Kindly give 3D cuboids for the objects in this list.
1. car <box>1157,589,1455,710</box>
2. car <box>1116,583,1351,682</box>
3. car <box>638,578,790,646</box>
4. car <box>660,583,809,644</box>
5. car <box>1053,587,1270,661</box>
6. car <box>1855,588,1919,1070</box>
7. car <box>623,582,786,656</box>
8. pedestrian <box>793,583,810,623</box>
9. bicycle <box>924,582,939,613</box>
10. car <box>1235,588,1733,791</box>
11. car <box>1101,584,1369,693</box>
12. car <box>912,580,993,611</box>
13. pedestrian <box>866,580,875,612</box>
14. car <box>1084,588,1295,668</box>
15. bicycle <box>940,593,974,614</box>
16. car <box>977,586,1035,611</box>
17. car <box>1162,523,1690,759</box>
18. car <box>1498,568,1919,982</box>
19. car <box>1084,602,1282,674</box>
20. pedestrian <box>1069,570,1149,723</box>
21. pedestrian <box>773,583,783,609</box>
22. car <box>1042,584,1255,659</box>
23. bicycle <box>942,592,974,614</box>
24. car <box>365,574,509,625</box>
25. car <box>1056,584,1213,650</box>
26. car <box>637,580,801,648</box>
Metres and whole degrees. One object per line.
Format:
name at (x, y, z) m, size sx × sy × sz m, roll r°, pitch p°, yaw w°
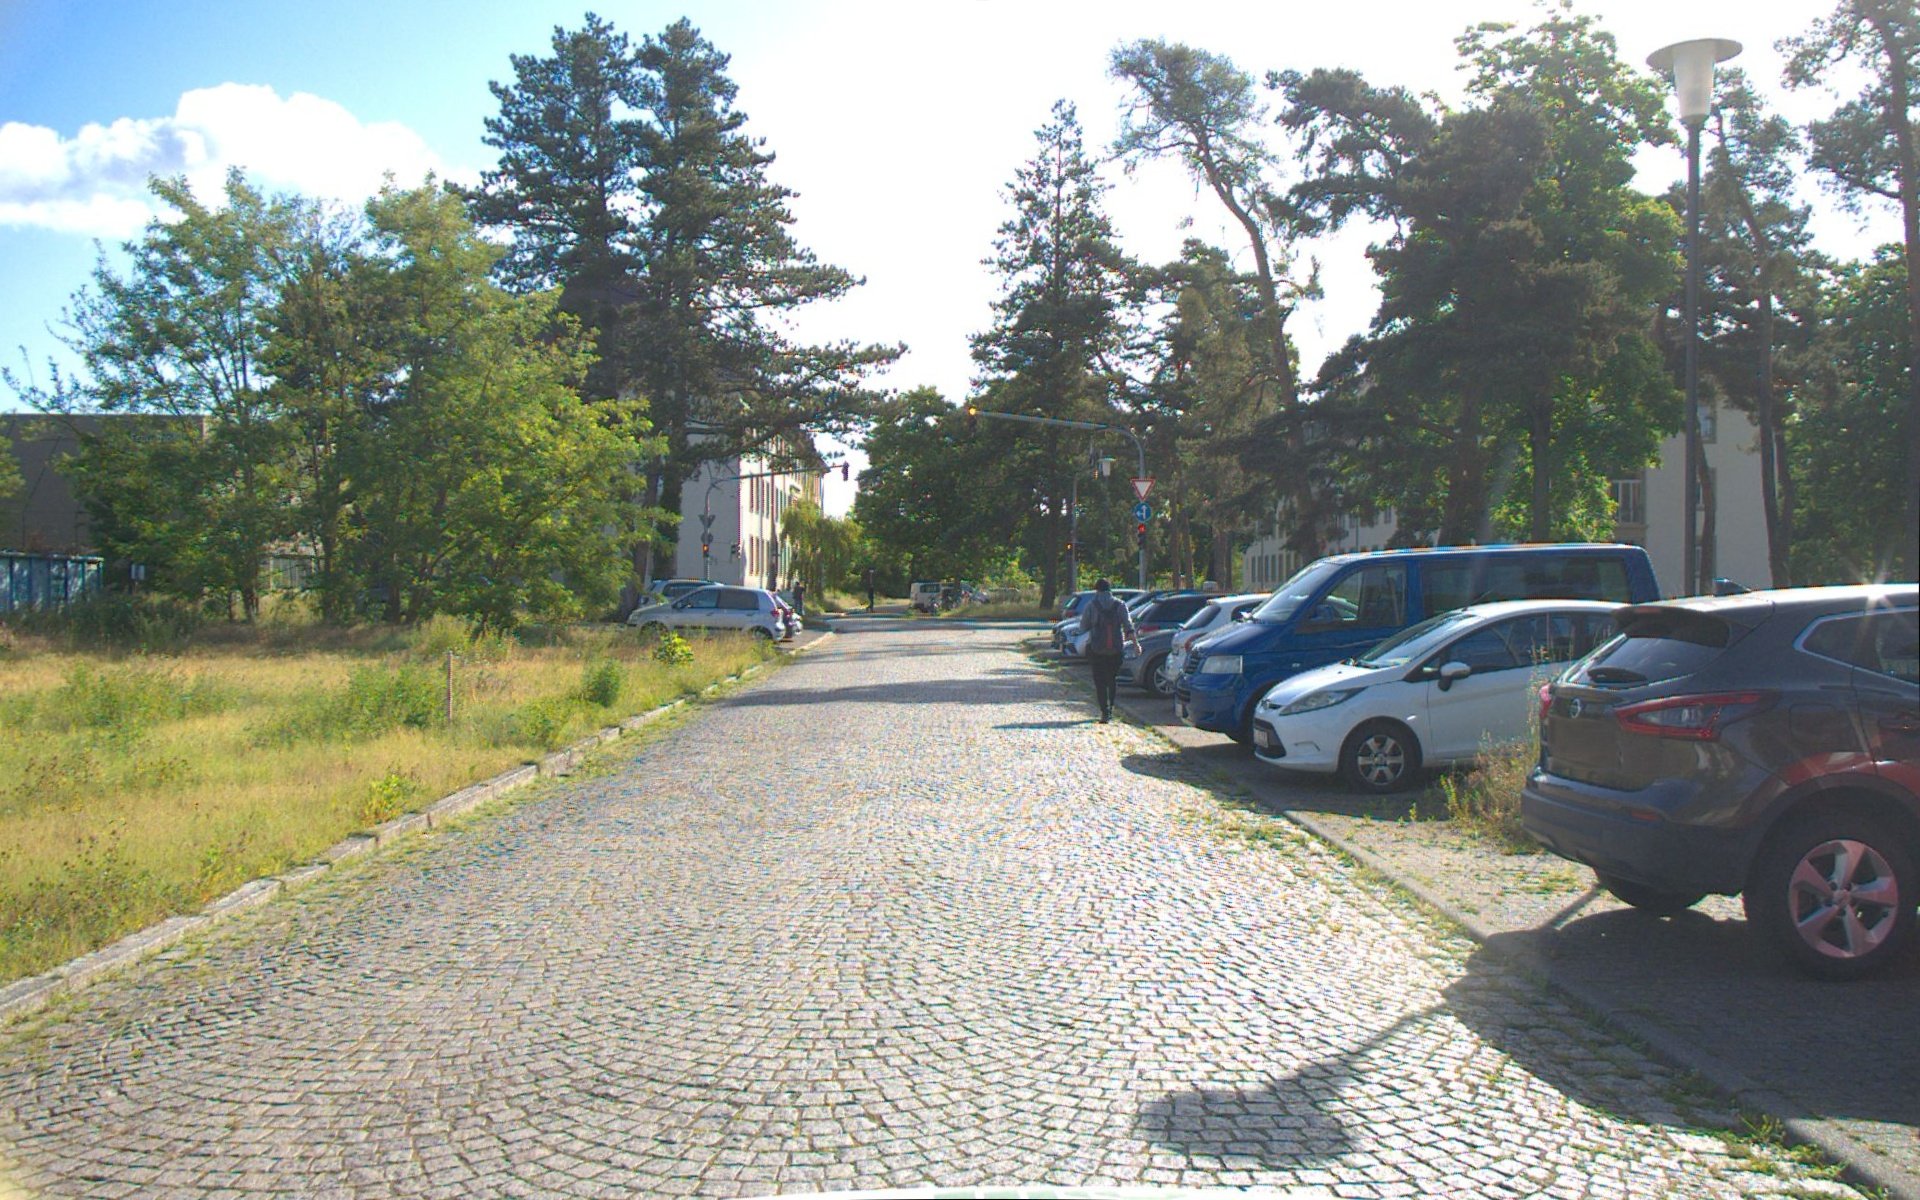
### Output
car at (4.486, 0.622, 21.786) m, size 3.570 × 1.518 × 1.634 m, roll 0°, pitch 0°, yaw -1°
car at (4.513, 0.525, 27.596) m, size 3.589 × 1.480 × 1.666 m, roll -2°, pitch 0°, yaw -1°
car at (-6.550, 0.307, 44.282) m, size 3.802 × 1.643 × 1.660 m, roll 2°, pitch 0°, yaw -2°
car at (-6.392, 0.370, 47.141) m, size 3.904 × 1.522 × 1.773 m, roll 2°, pitch 0°, yaw 3°
car at (4.219, 0.478, 34.986) m, size 4.311 × 1.413 × 1.788 m, roll -1°, pitch 0°, yaw -2°
car at (4.991, 0.720, 4.908) m, size 3.747 × 1.565 × 1.703 m, roll -1°, pitch 0°, yaw -1°
car at (-5.991, 0.439, 39.095) m, size 3.613 × 1.554 × 1.698 m, roll 2°, pitch 0°, yaw -4°
pedestrian at (-7.177, 0.145, 74.841) m, size 0.598 × 1.783 × 0.626 m, roll 0°, pitch 0°, yaw -21°
bicycle at (-1.480, -0.130, 85.529) m, size 0.738 × 1.608 × 2.536 m, roll 0°, pitch 0°, yaw -2°
car at (4.306, 0.698, 13.910) m, size 3.646 × 1.492 × 1.609 m, roll -1°, pitch 0°, yaw -3°
car at (4.041, 0.551, 24.708) m, size 3.703 × 1.476 × 1.758 m, roll -1°, pitch 0°, yaw 0°
car at (-0.509, -0.321, 107.031) m, size 4.975 × 1.951 × 1.995 m, roll 0°, pitch 0°, yaw -11°
pedestrian at (-5.646, -0.245, 104.573) m, size 0.582 × 2.049 × 0.572 m, roll 0°, pitch 0°, yaw -1°
car at (4.473, 0.531, 32.573) m, size 3.899 × 1.474 × 1.655 m, roll -1°, pitch 0°, yaw -2°
bicycle at (-0.155, 0.201, 89.018) m, size 1.798 × 1.132 × 0.495 m, roll 0°, pitch 0°, yaw -5°
car at (3.070, -0.097, 110.907) m, size 3.674 × 1.607 × 1.738 m, roll 0°, pitch 0°, yaw -9°
car at (4.509, 0.371, 16.541) m, size 4.657 × 2.049 × 2.000 m, roll -2°, pitch 0°, yaw -1°
car at (4.773, 0.674, 7.581) m, size 4.025 × 1.639 × 1.785 m, roll -1°, pitch 0°, yaw -3°
car at (4.027, 0.675, 30.174) m, size 3.390 × 1.264 × 1.536 m, roll 0°, pitch 0°, yaw -1°
pedestrian at (1.789, 0.549, 19.982) m, size 0.738 × 1.755 × 0.828 m, roll 5°, pitch 0°, yaw -2°
pedestrian at (-11.273, -0.256, 102.640) m, size 0.595 × 1.587 × 0.544 m, roll 0°, pitch 0°, yaw -8°
car at (4.238, 0.462, 37.629) m, size 4.528 × 1.481 × 1.869 m, roll -2°, pitch 1°, yaw -4°
bicycle at (-0.094, 0.158, 90.209) m, size 1.693 × 1.185 × 0.560 m, roll 0°, pitch 0°, yaw -5°
car at (-17.080, -0.032, 54.155) m, size 4.059 × 1.636 × 2.010 m, roll 0°, pitch 0°, yaw 0°
car at (4.198, 0.393, 40.166) m, size 3.599 × 1.468 × 1.665 m, roll -2°, pitch 0°, yaw -1°
car at (-6.033, 0.349, 41.760) m, size 3.859 × 1.470 × 1.690 m, roll 3°, pitch 0°, yaw -2°
